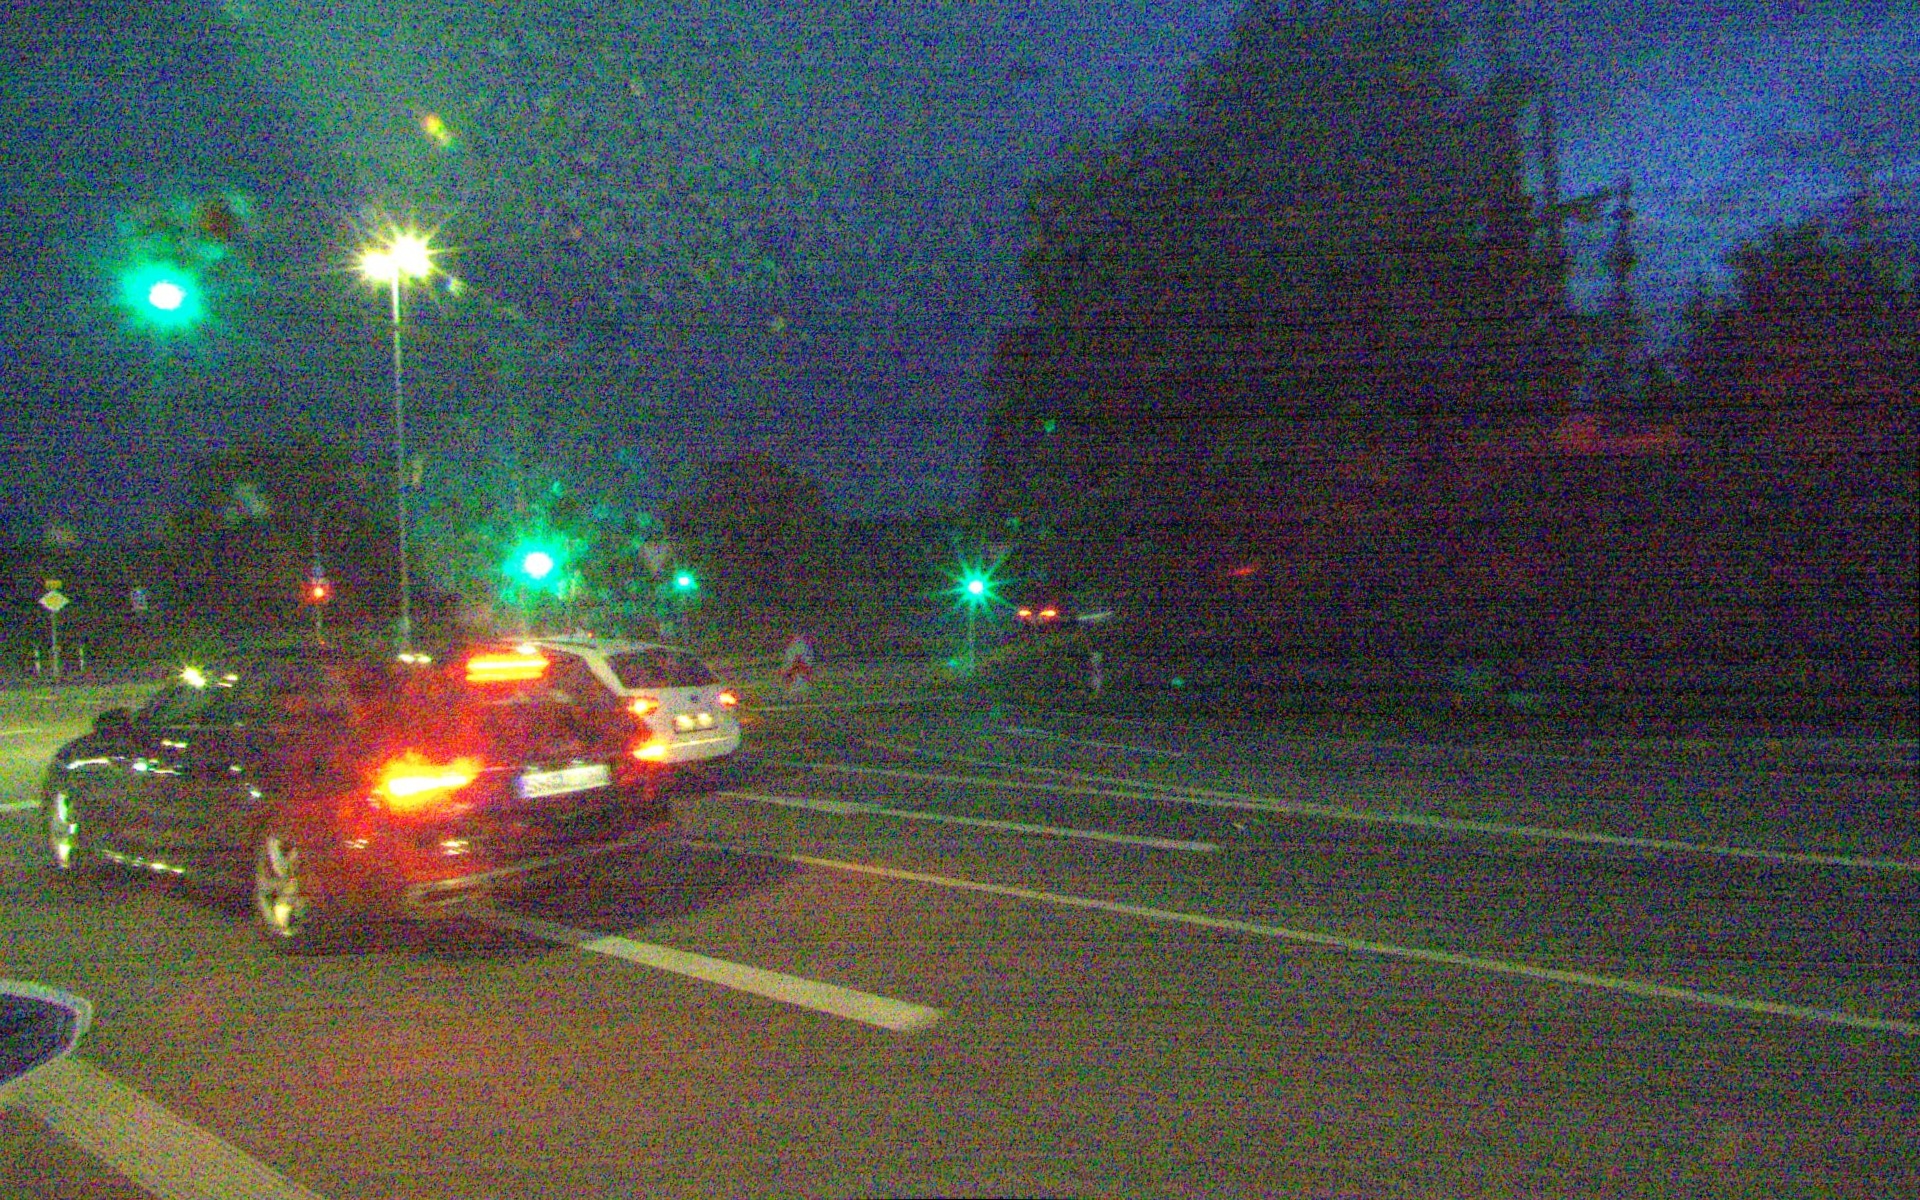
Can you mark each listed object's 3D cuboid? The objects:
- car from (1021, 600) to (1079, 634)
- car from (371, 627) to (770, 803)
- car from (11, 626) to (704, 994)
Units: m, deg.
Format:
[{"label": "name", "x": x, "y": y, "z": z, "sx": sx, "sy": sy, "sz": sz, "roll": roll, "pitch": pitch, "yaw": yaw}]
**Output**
[{"label": "car", "x": 4.655, "y": 0.827, "z": 51.337, "sx": 1.712, "sy": 1.594, "sz": 4.046, "roll": 0, "pitch": 1, "yaw": 24}, {"label": "car", "x": -4.025, "y": 1.033, "z": 10.186, "sx": 4.057, "sy": 1.462, "sz": 1.617, "roll": -1, "pitch": -1, "yaw": 30}, {"label": "car", "x": -3.750, "y": 0.921, "z": 5.974, "sx": 4.471, "sy": 1.461, "sz": 1.787, "roll": -2, "pitch": -2, "yaw": 33}]
